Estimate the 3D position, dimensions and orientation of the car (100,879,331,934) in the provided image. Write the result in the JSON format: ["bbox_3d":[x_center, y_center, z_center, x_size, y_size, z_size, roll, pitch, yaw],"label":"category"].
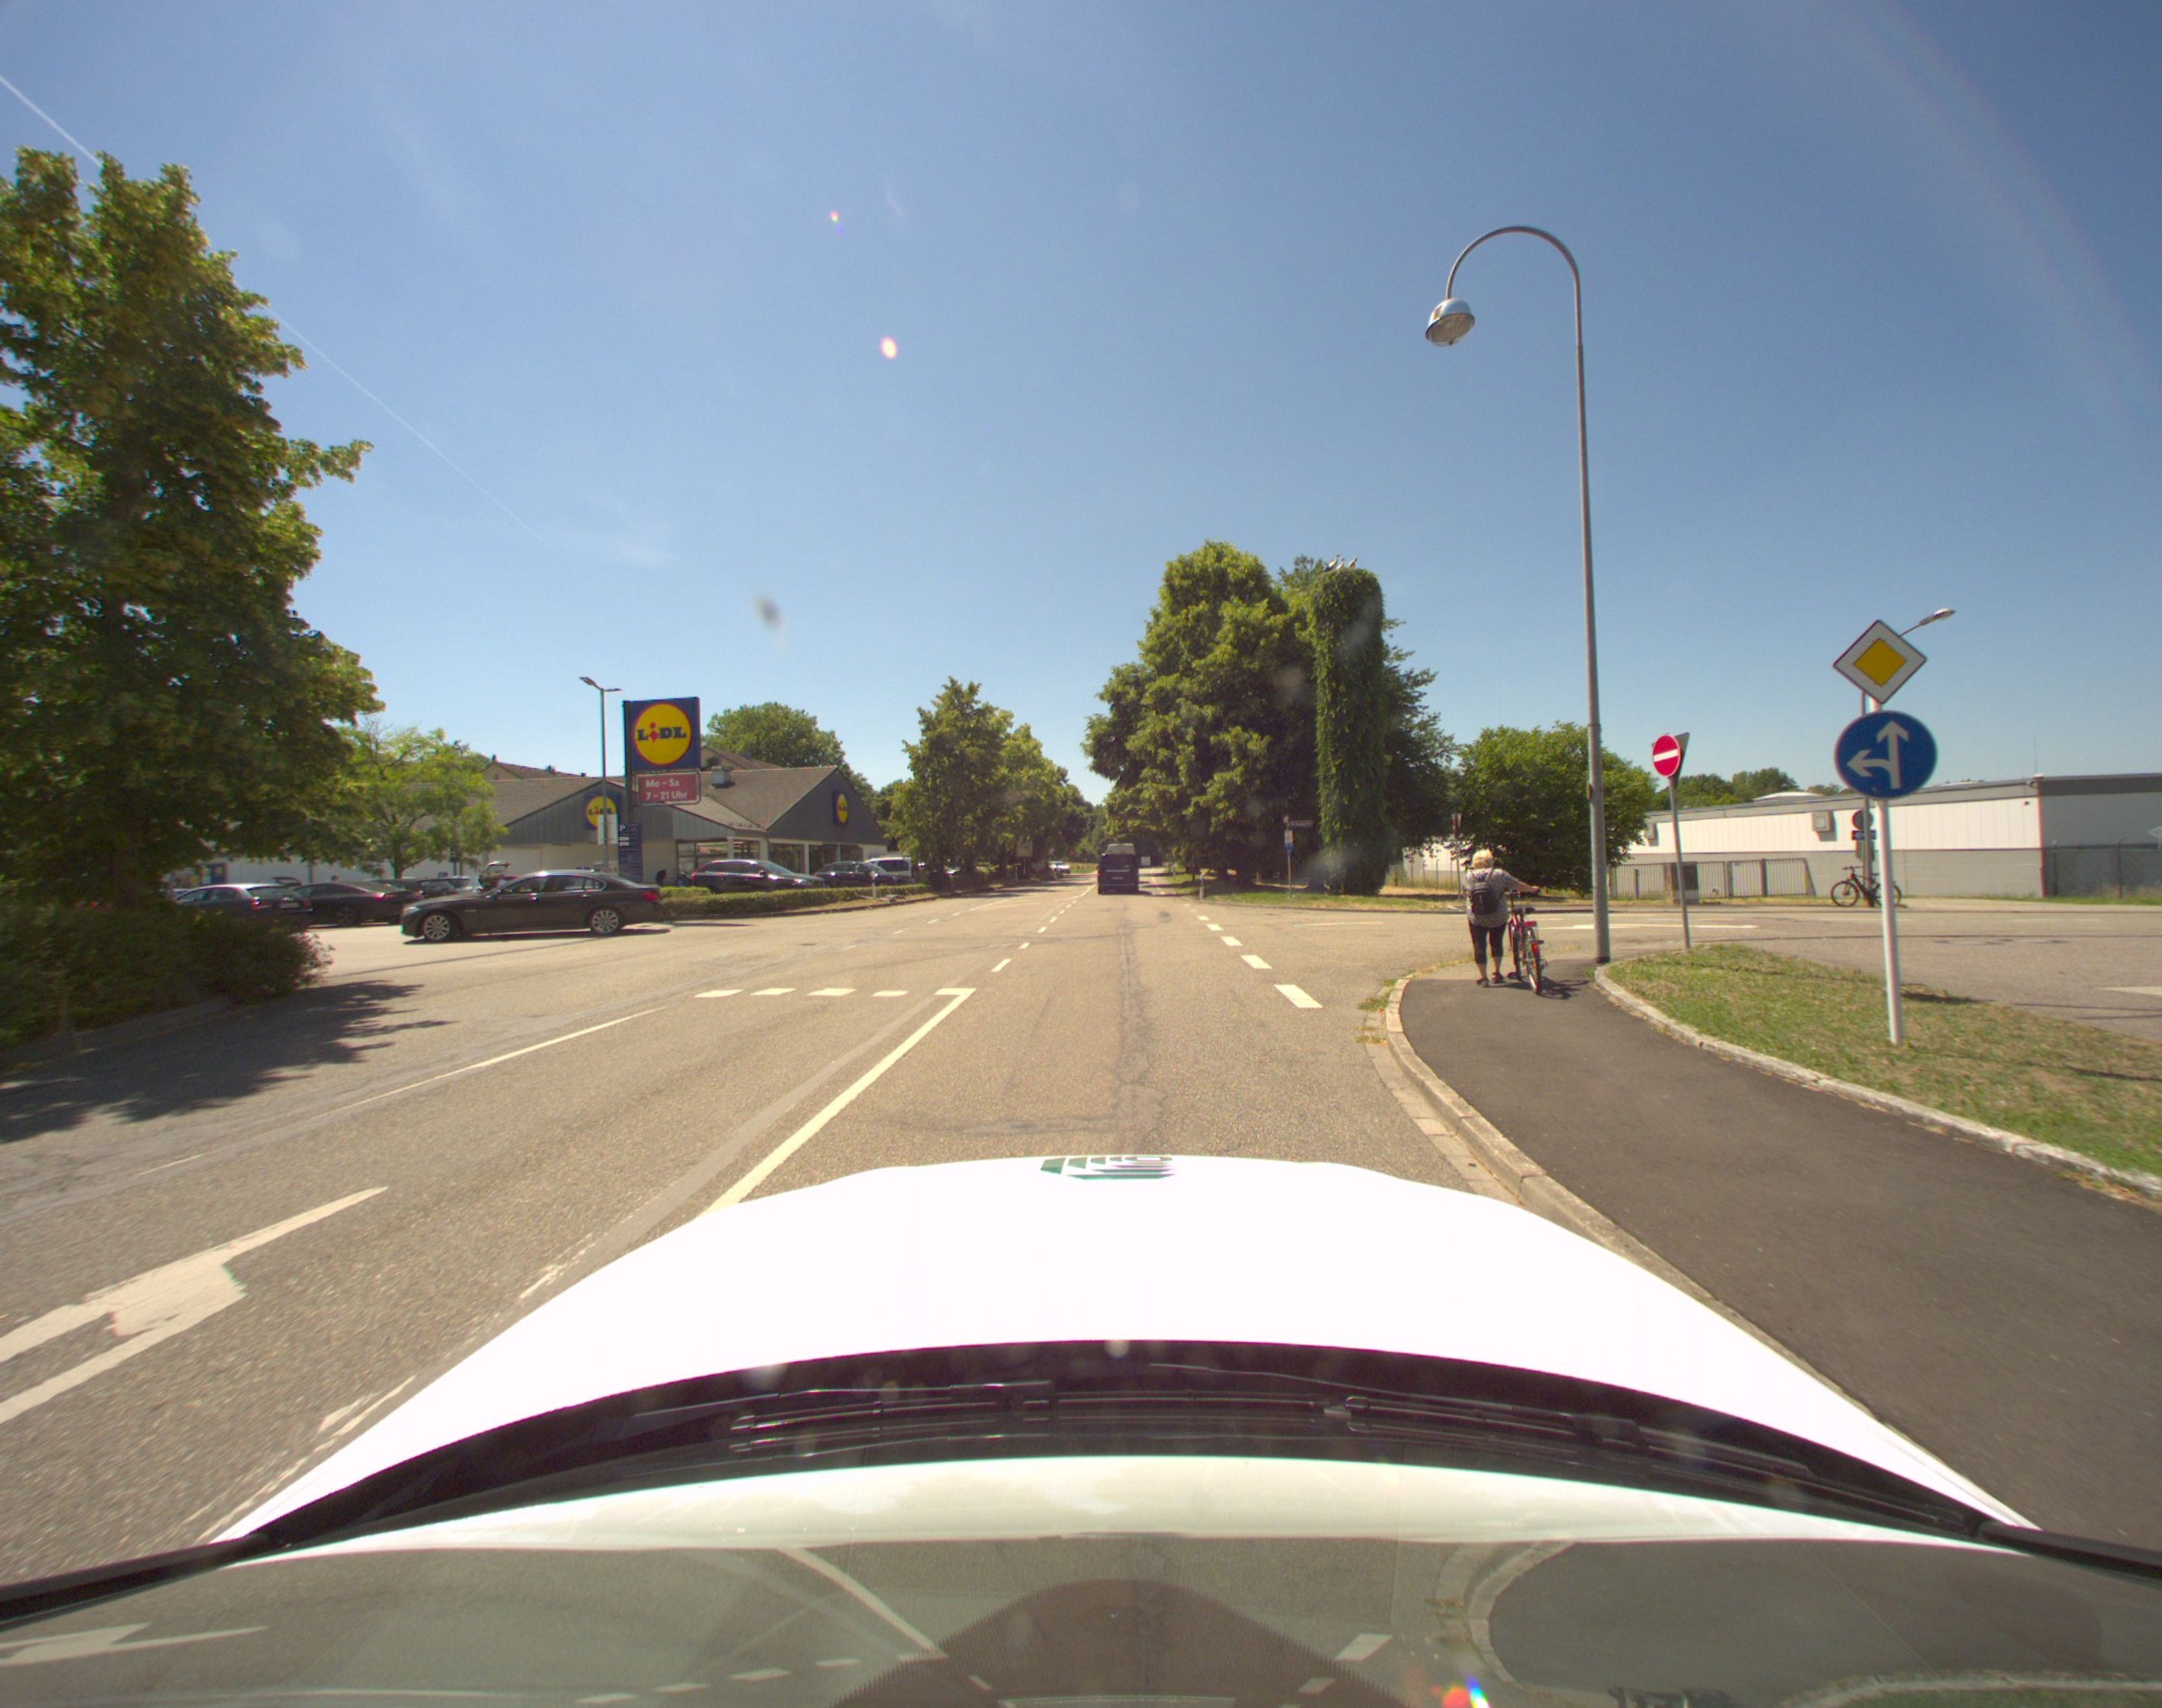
[{"bbox_3d":[-23.818,1.413,22.561,4.229,1.369,1.766,-1,-1,-5],"label":"car"}]

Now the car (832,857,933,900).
[{"bbox_3d":[-9.478,1.162,39.089,4.341,1.980,1.905,-1,-1,1],"label":"car"}]

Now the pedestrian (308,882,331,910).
[{"bbox_3d":[-42.884,2.364,45.854,0.672,1.580,0.634,-1,-1,1],"label":"pedestrian"}]

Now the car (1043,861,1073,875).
[{"bbox_3d":[-2.815,1.674,99.089,2.104,1.588,4.439,1,-1,-24],"label":"car"}]

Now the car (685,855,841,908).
[{"bbox_3d":[-11.209,0.977,28.906,4.682,1.762,2.103,-1,-1,7],"label":"car"}]

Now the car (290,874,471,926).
[{"bbox_3d":[-23.753,1.539,27.762,4.305,1.606,1.909,-1,-1,-5],"label":"car"}]

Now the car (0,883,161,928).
[{"bbox_3d":[-39.420,1.970,32.038,1.786,1.601,4.003,-1,-1,3],"label":"car"}]

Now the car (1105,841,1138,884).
[{"bbox_3d":[2.746,0.594,54.071,2.069,2.703,4.671,0,-1,4],"label":"car"}]

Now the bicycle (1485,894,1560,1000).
[{"bbox_3d":[4.507,0.909,8.385,0.375,0.912,1.605,-1,-1,18],"label":"bicycle"}]

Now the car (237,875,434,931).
[{"bbox_3d":[-22.864,1.480,25.106,4.229,1.589,1.766,-1,-1,-5],"label":"car"}]

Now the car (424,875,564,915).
[{"bbox_3d":[-23.651,1.626,32.930,4.299,1.530,1.827,-1,-1,-1],"label":"car"}]

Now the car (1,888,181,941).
[{"bbox_3d":[-31.091,1.886,25.652,3.594,1.486,1.651,-1,-1,0],"label":"car"}]

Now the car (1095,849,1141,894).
[{"bbox_3d":[1.783,0.794,37.987,1.985,1.953,5.010,0,-1,4],"label":"car"}]

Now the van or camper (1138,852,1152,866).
[{"bbox_3d":[14.398,1.151,182.676,2.623,2.929,5.205,0,-1,0],"label":"van or camper"}]

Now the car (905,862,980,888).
[{"bbox_3d":[-8.786,1.317,51.910,4.383,1.620,1.896,0,-1,2],"label":"car"}]

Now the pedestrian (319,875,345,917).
[{"bbox_3d":[-33.385,1.854,36.312,0.762,1.806,0.758,-1,-2,41],"label":"pedestrian"}]

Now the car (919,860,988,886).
[{"bbox_3d":[-8.830,1.315,56.787,4.383,1.776,2.073,0,-1,2],"label":"car"}]

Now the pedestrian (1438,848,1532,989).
[{"bbox_3d":[4.332,0.663,8.795,0.763,1.421,0.872,-1,-1,18],"label":"pedestrian"}]

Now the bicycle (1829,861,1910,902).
[{"bbox_3d":[21.976,0.767,22.722,1.685,1.098,0.468,-1,-1,5],"label":"bicycle"}]

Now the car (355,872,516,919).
[{"bbox_3d":[-24.128,1.530,30.571,4.299,1.655,2.113,-1,-1,-1],"label":"car"}]

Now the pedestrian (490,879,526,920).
[{"bbox_3d":[-21.407,1.695,30.446,0.891,1.483,0.803,0,-2,-20],"label":"pedestrian"}]

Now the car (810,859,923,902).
[{"bbox_3d":[-9.531,1.177,36.370,4.359,1.845,2.109,-1,-1,9],"label":"car"}]

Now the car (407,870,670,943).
[{"bbox_3d":[-11.859,1.096,18.279,4.700,1.400,1.921,0,-1,-28],"label":"car"}]
